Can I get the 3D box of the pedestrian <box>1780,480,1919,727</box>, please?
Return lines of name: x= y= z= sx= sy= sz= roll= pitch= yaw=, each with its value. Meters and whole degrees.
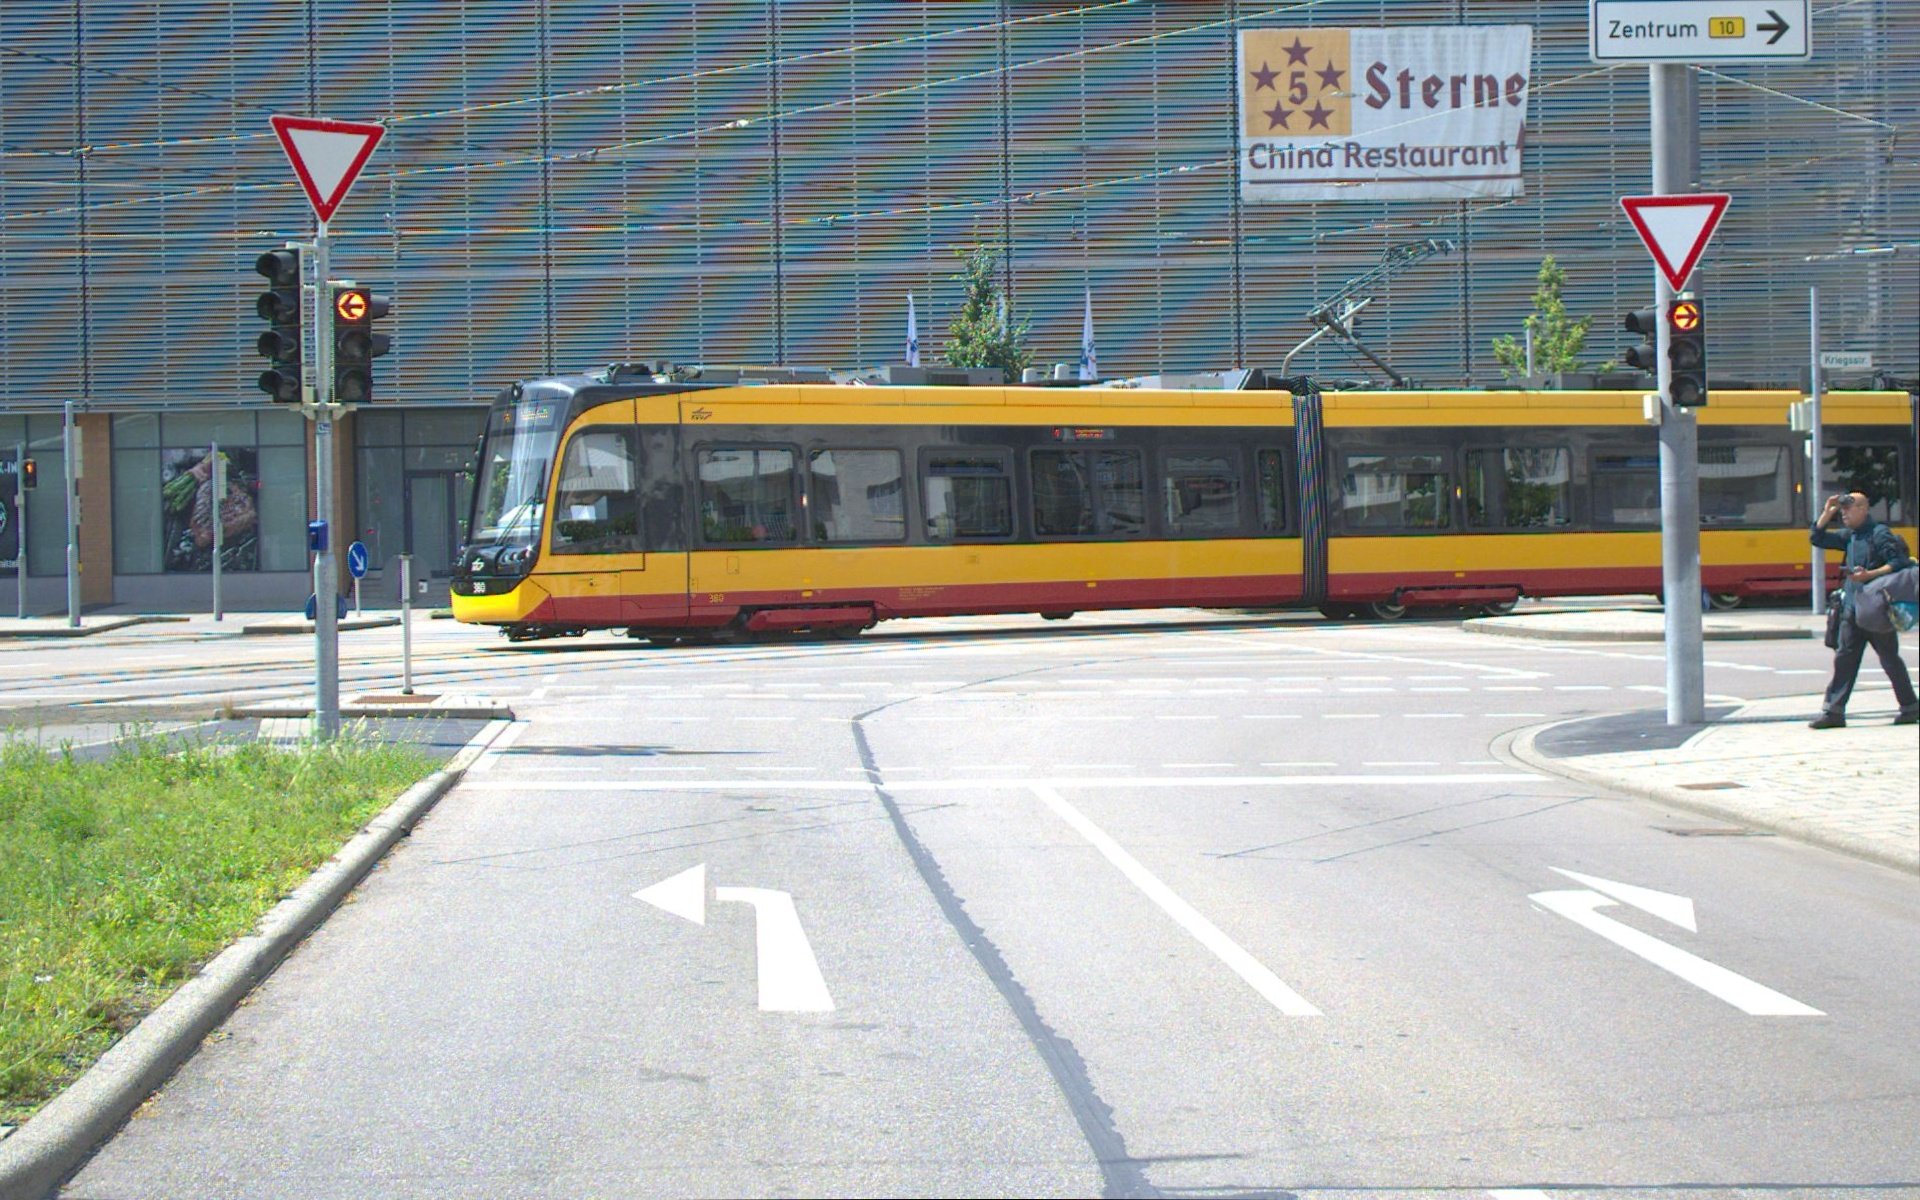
pedestrian: x=6.442 y=0.018 z=24.289 sx=0.806 sy=1.696 sz=0.919 roll=-2 pitch=1 yaw=-31

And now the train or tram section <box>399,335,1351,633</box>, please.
train or tram section: x=-0.796 y=-1.505 z=46.641 sx=13.458 sy=3.587 sz=3.226 roll=-1 pitch=2 yaw=-36

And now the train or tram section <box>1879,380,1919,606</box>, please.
train or tram section: x=21.548 y=-1.710 z=56.185 sx=12.590 sy=3.608 sz=3.066 roll=0 pitch=1 yaw=-13

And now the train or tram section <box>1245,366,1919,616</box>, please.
train or tram section: x=9.996 y=-1.630 z=52.777 sx=10.954 sy=3.591 sz=3.066 roll=0 pitch=1 yaw=-21
